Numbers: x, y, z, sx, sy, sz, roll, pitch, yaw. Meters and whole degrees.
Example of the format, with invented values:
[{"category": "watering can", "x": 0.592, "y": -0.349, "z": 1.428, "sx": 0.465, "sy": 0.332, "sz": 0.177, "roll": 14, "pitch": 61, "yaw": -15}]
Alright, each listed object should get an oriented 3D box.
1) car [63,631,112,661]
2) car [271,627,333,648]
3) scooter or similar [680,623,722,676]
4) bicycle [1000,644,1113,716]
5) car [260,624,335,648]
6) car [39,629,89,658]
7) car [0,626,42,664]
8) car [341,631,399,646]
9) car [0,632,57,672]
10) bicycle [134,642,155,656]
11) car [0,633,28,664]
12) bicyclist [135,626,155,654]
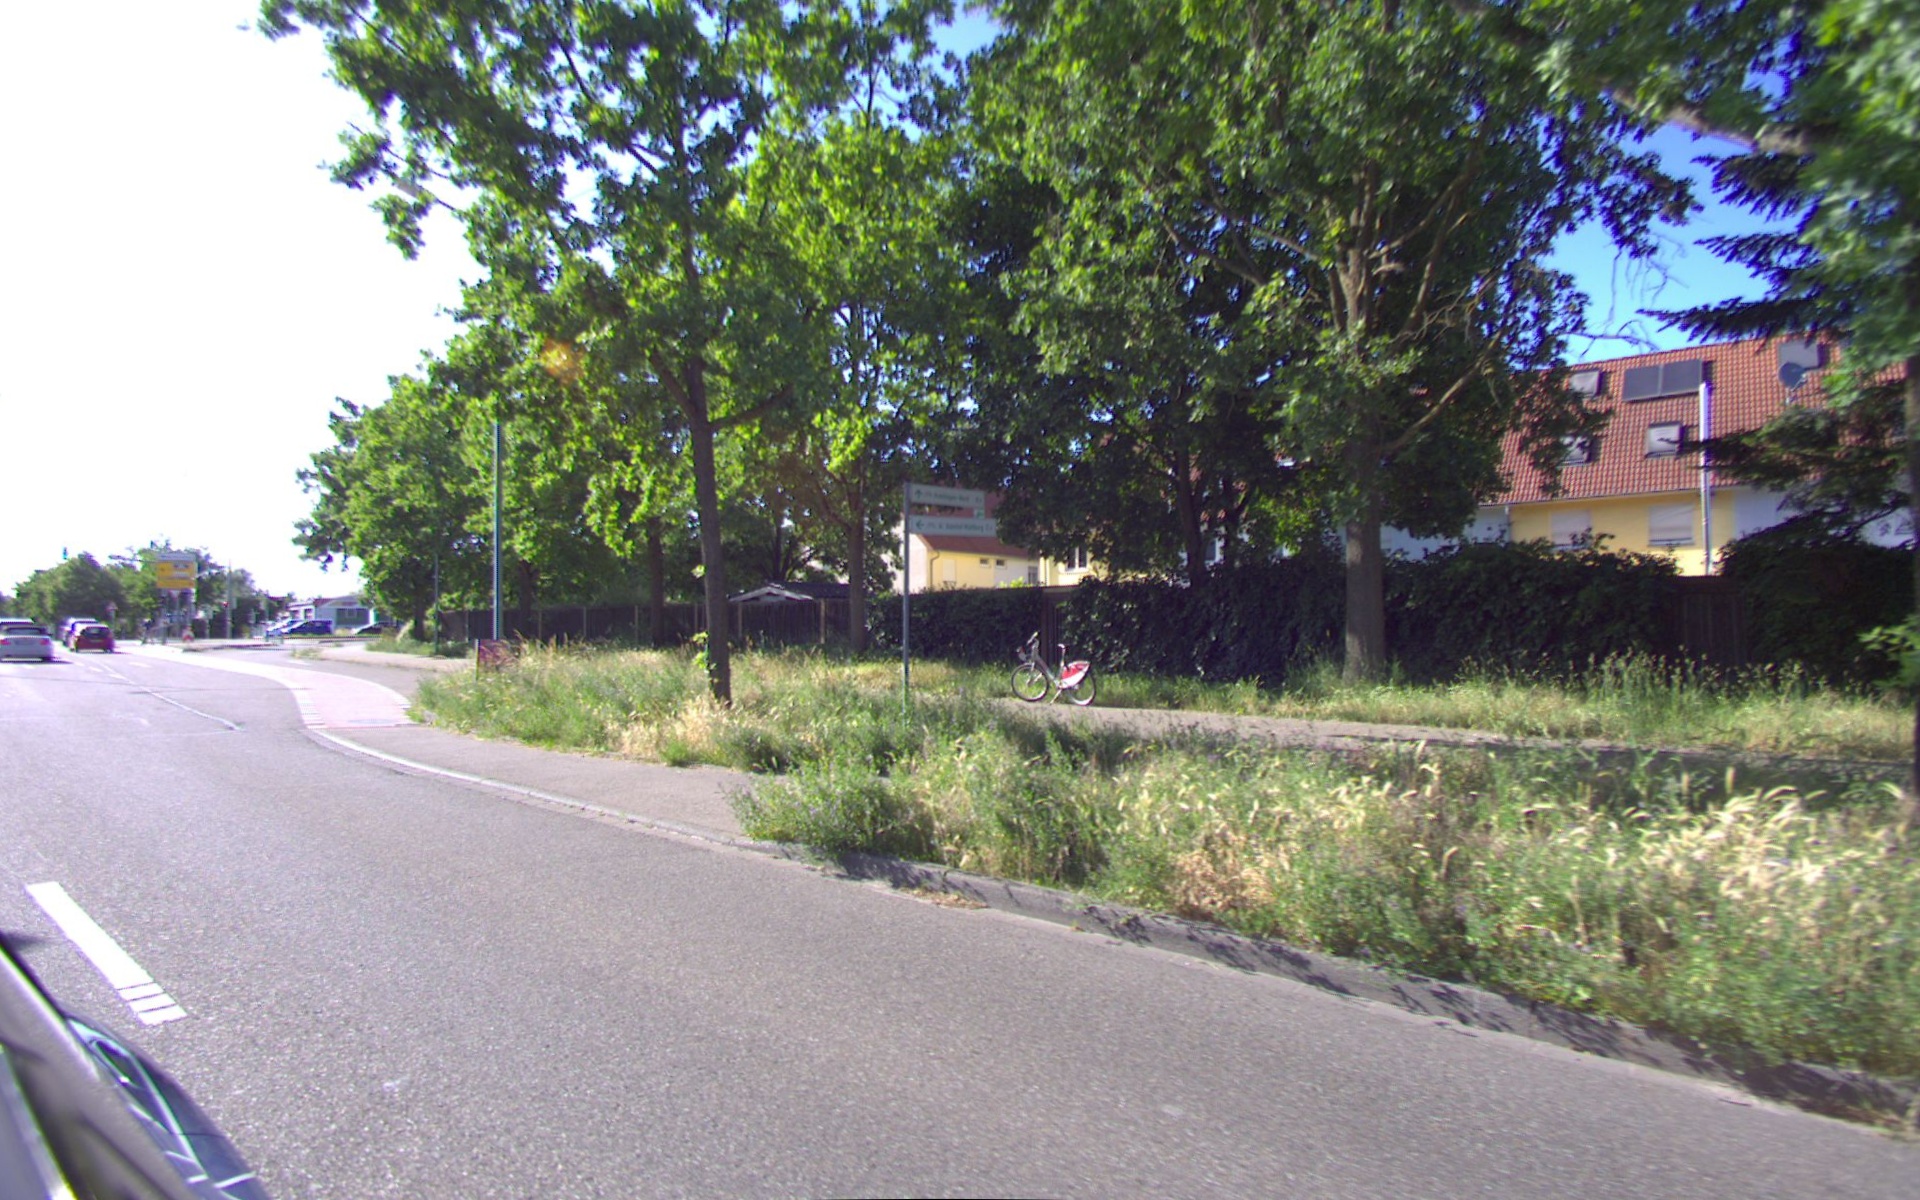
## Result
[{"category": "car", "x": -45.518, "y": 2.386, "z": 52.768, "sx": 1.626, "sy": 1.494, "sz": 3.715, "roll": 2, "pitch": -3, "yaw": -45}, {"category": "car", "x": -54.877, "y": 3.157, "z": 84.472, "sx": 1.892, "sy": 1.657, "sz": 3.985, "roll": -5, "pitch": -5, "yaw": 40}, {"category": "scooter or similar", "x": -6.397, "y": 1.218, "z": 24.954, "sx": 0.531, "sy": 1.228, "sz": 1.417, "roll": -1, "pitch": -2, "yaw": -33}, {"category": "bicycle", "x": 1.525, "y": 1.256, "z": 16.259, "sx": 1.879, "sy": 1.061, "sz": 0.500, "roll": -1, "pitch": -2, "yaw": 42}, {"category": "car", "x": -59.098, "y": 3.196, "z": 90.353, "sx": 2.046, "sy": 2.029, "sz": 5.204, "roll": -5, "pitch": -5, "yaw": 40}, {"category": "car", "x": -54.018, "y": 2.608, "z": 61.007, "sx": 1.971, "sy": 1.656, "sz": 4.532, "roll": 2, "pitch": -3, "yaw": -45}, {"category": "car", "x": -42.214, "y": 1.989, "z": 44.865, "sx": 4.532, "sy": 1.628, "sz": 1.971, "roll": -2, "pitch": -3, "yaw": 44}, {"category": "car", "x": -51.620, "y": 3.370, "z": 88.538, "sx": 1.892, "sy": 1.284, "sz": 3.985, "roll": -5, "pitch": -5, "yaw": 40}, {"category": "car", "x": -36.607, "y": 1.991, "z": 39.302, "sx": 4.400, "sy": 1.461, "sz": 1.971, "roll": -2, "pitch": -3, "yaw": 44}, {"category": "bicycle", "x": -50.343, "y": 3.016, "z": 62.495, "sx": 1.990, "sy": 0.854, "sz": 0.740, "roll": -2, "pitch": -3, "yaw": 44}, {"category": "car", "x": -46.936, "y": 2.353, "z": 49.540, "sx": 1.727, "sy": 1.494, "sz": 3.890, "roll": 2, "pitch": -3, "yaw": -45}, {"category": "bicyclist", "x": -50.362, "y": 2.493, "z": 62.532, "sx": 1.242, "sy": 1.715, "sz": 0.736, "roll": -2, "pitch": -3, "yaw": 44}]
